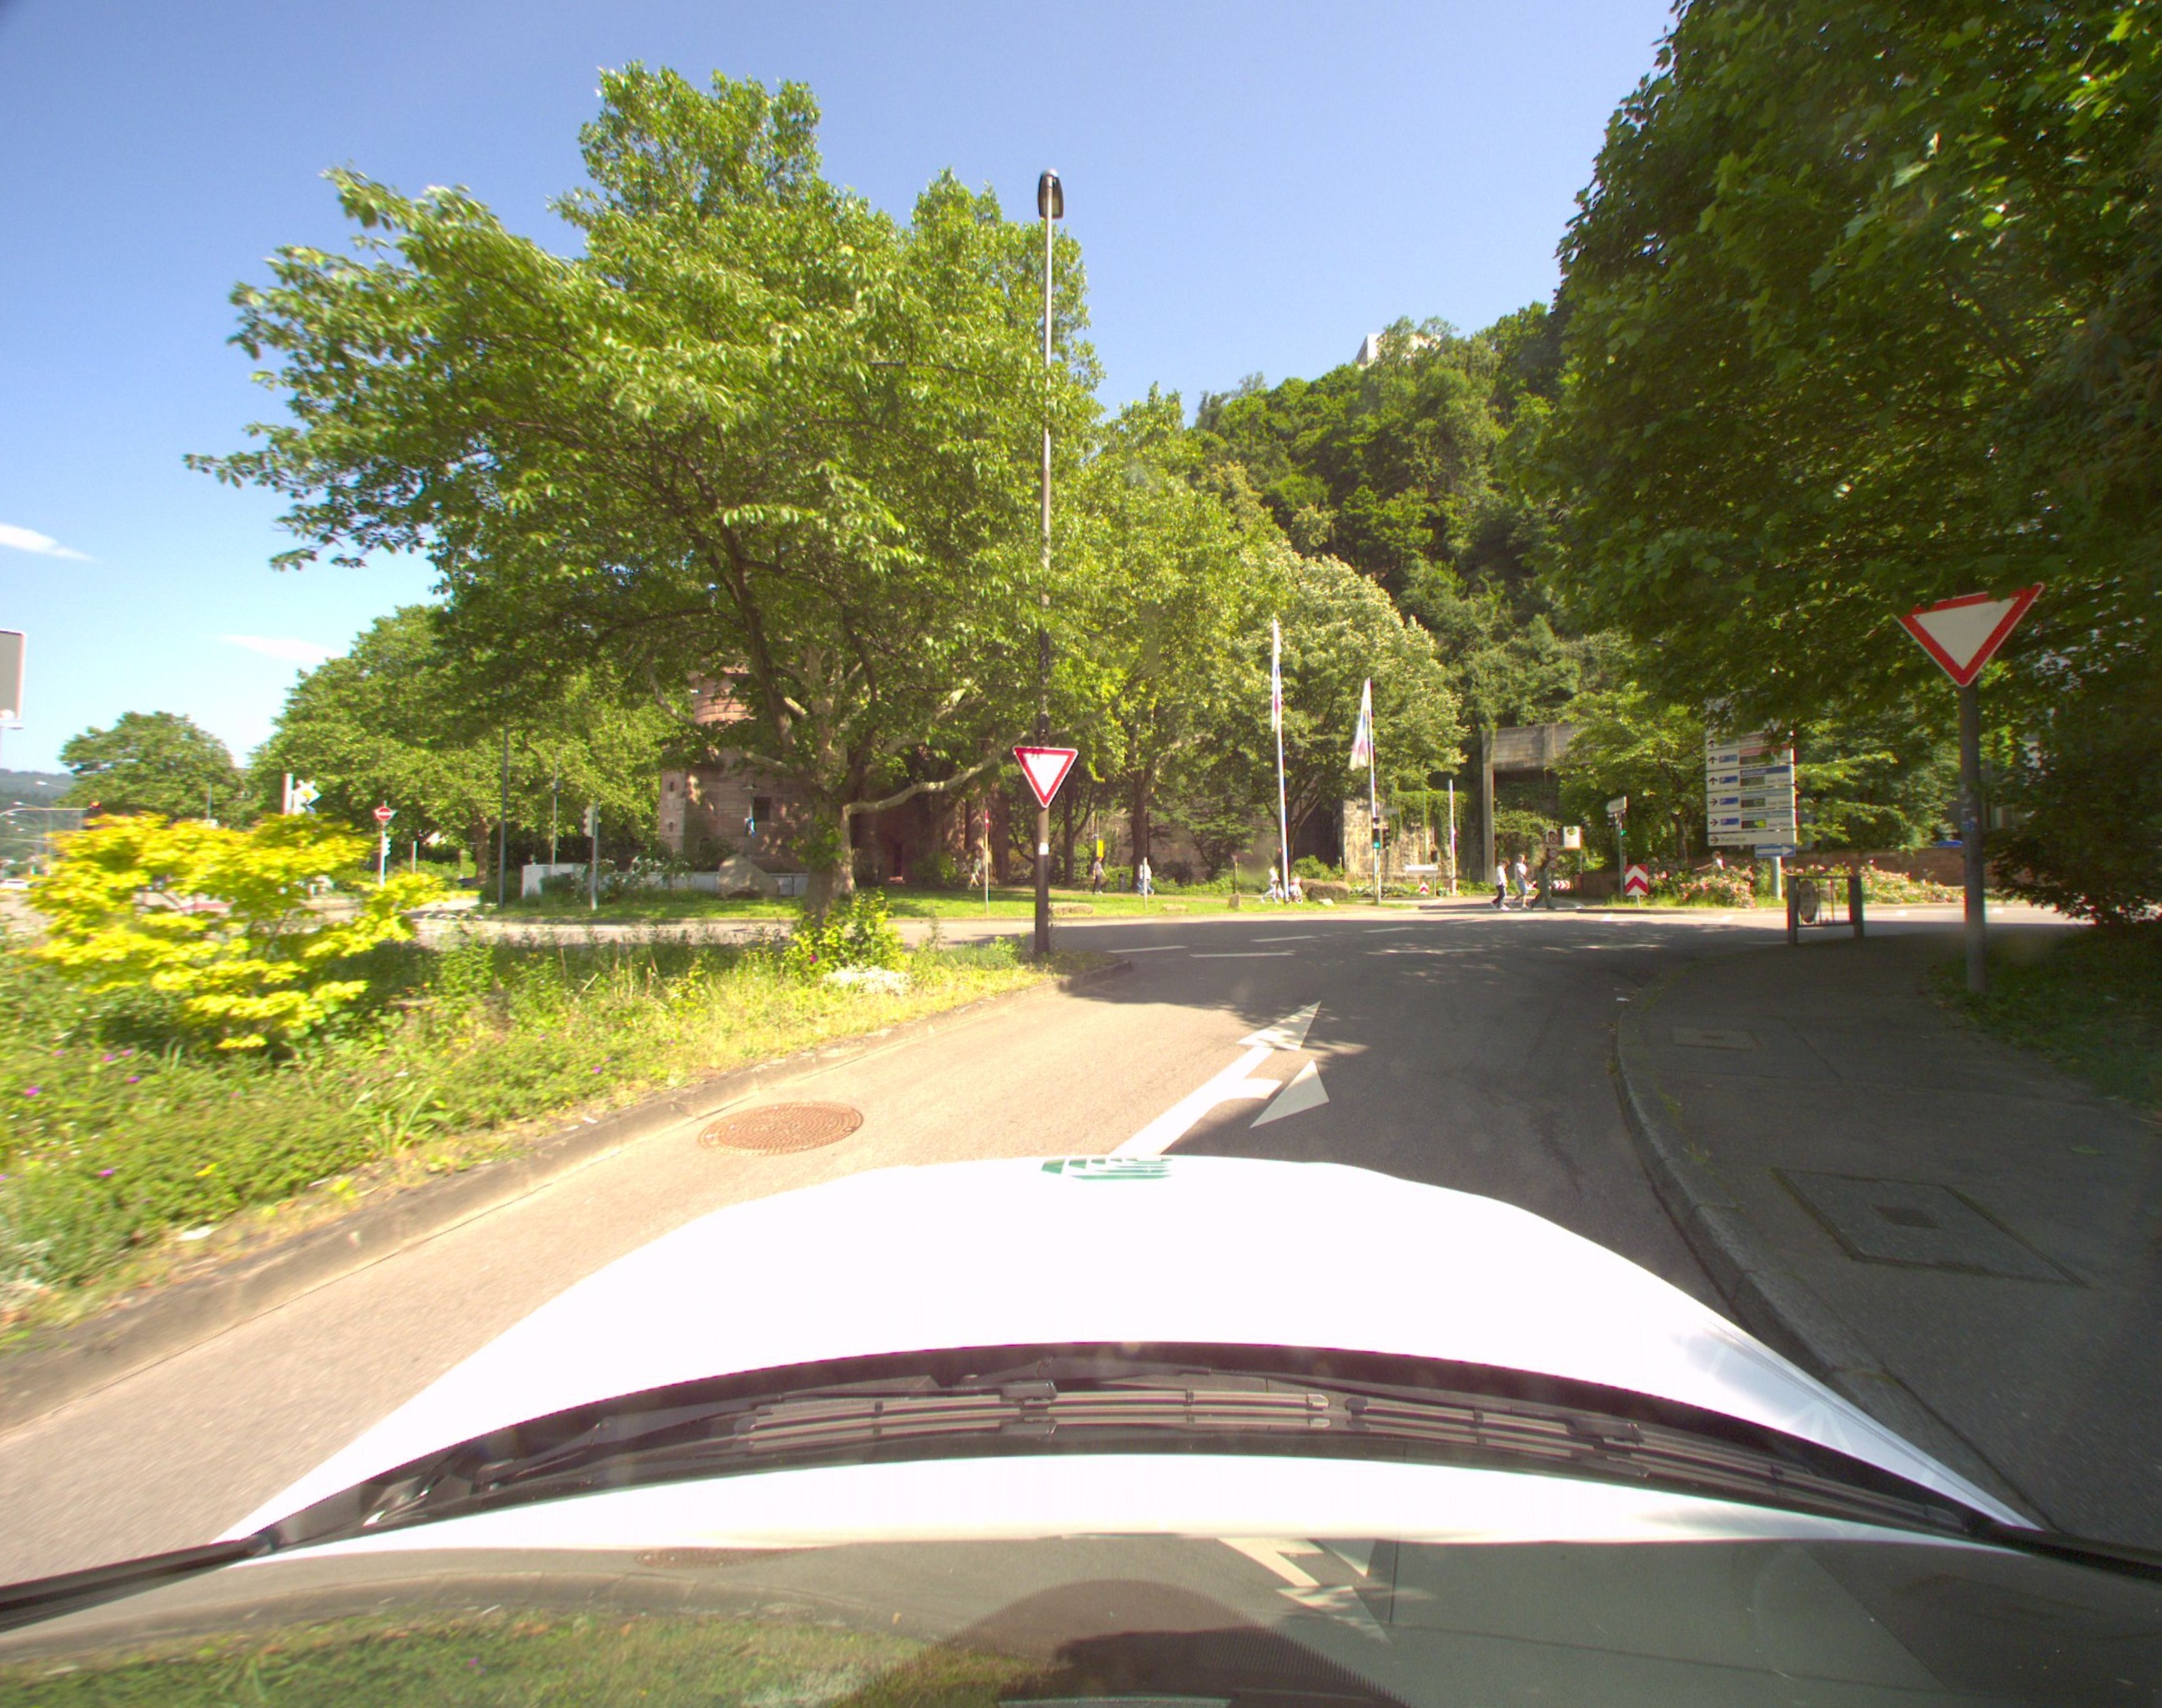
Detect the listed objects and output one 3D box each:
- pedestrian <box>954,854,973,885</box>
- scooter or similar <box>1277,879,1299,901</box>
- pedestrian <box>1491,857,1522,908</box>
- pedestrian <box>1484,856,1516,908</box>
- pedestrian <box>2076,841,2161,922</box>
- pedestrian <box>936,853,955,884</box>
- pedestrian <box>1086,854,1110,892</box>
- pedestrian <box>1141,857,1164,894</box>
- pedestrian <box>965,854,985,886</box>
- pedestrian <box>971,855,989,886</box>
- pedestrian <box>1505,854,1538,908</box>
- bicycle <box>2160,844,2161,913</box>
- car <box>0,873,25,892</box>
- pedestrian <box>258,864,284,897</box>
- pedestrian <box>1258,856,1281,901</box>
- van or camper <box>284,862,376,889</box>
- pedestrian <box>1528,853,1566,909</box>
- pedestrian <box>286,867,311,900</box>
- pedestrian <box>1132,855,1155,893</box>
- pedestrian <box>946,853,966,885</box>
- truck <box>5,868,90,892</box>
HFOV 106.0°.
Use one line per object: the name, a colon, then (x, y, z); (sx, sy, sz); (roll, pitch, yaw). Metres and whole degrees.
pedestrian: (-6.771, 0.899, 46.819); (0.799, 1.756, 0.657); (4, -3, -42)
scooter or similar: (8.273, 1.434, 32.548); (0.724, 0.812, 0.573); (-1, -1, 24)
pedestrian: (14.963, 1.015, 28.647); (0.769, 1.756, 0.753); (4, -3, -42)
pedestrian: (14.431, 0.963, 28.048); (0.769, 1.756, 0.753); (4, -3, -42)
pedestrian: (25.134, 0.645, 19.706); (0.958, 1.894, 1.067); (0, -1, -19)
pedestrian: (-7.803, 0.855, 46.955); (0.799, 1.756, 0.657); (4, -3, -42)
pedestrian: (0.778, 0.893, 38.080); (0.799, 1.756, 0.714); (4, -3, -42)
pedestrian: (3.425, 1.016, 39.050); (0.799, 1.756, 0.657); (4, -3, -42)
pedestrian: (-5.975, 0.894, 45.977); (0.799, 1.756, 0.657); (4, -3, -42)
pedestrian: (-5.834, 0.959, 47.058); (0.799, 1.756, 0.657); (4, -3, -42)
pedestrian: (14.762, 0.898, 27.269); (0.769, 1.756, 0.753); (4, -3, -42)
bicycle: (30.418, 0.646, 20.953); (2.961, 1.887, 1.176); (1, -4, 35)
car: (-118.523, 3.109, 88.834); (3.976, 2.014, 1.942); (0, 0, -2)
pedestrian: (-42.477, 1.378, 42.716); (0.766, 1.719, 0.787); (0, 0, -29)
pedestrian: (7.600, 0.978, 32.758); (0.753, 1.756, 0.769); (-1, -1, 24)
van or camper: (-55.576, 1.570, 60.351); (4.556, 1.902, 1.987); (0, 0, -19)
pedestrian: (15.159, 0.880, 26.507); (0.806, 1.756, 0.857); (4, -3, -42)
pedestrian: (-41.810, 1.551, 43.523); (0.766, 1.708, 0.869); (0, 0, -29)
pedestrian: (2.928, 0.965, 38.346); (0.799, 1.756, 0.657); (4, -3, -42)
pedestrian: (-7.032, 0.831, 45.785); (0.799, 1.756, 0.657); (4, -3, -42)
truck: (-91.860, 2.303, 72.409); (6.209, 2.014, 2.172); (0, 0, 12)
